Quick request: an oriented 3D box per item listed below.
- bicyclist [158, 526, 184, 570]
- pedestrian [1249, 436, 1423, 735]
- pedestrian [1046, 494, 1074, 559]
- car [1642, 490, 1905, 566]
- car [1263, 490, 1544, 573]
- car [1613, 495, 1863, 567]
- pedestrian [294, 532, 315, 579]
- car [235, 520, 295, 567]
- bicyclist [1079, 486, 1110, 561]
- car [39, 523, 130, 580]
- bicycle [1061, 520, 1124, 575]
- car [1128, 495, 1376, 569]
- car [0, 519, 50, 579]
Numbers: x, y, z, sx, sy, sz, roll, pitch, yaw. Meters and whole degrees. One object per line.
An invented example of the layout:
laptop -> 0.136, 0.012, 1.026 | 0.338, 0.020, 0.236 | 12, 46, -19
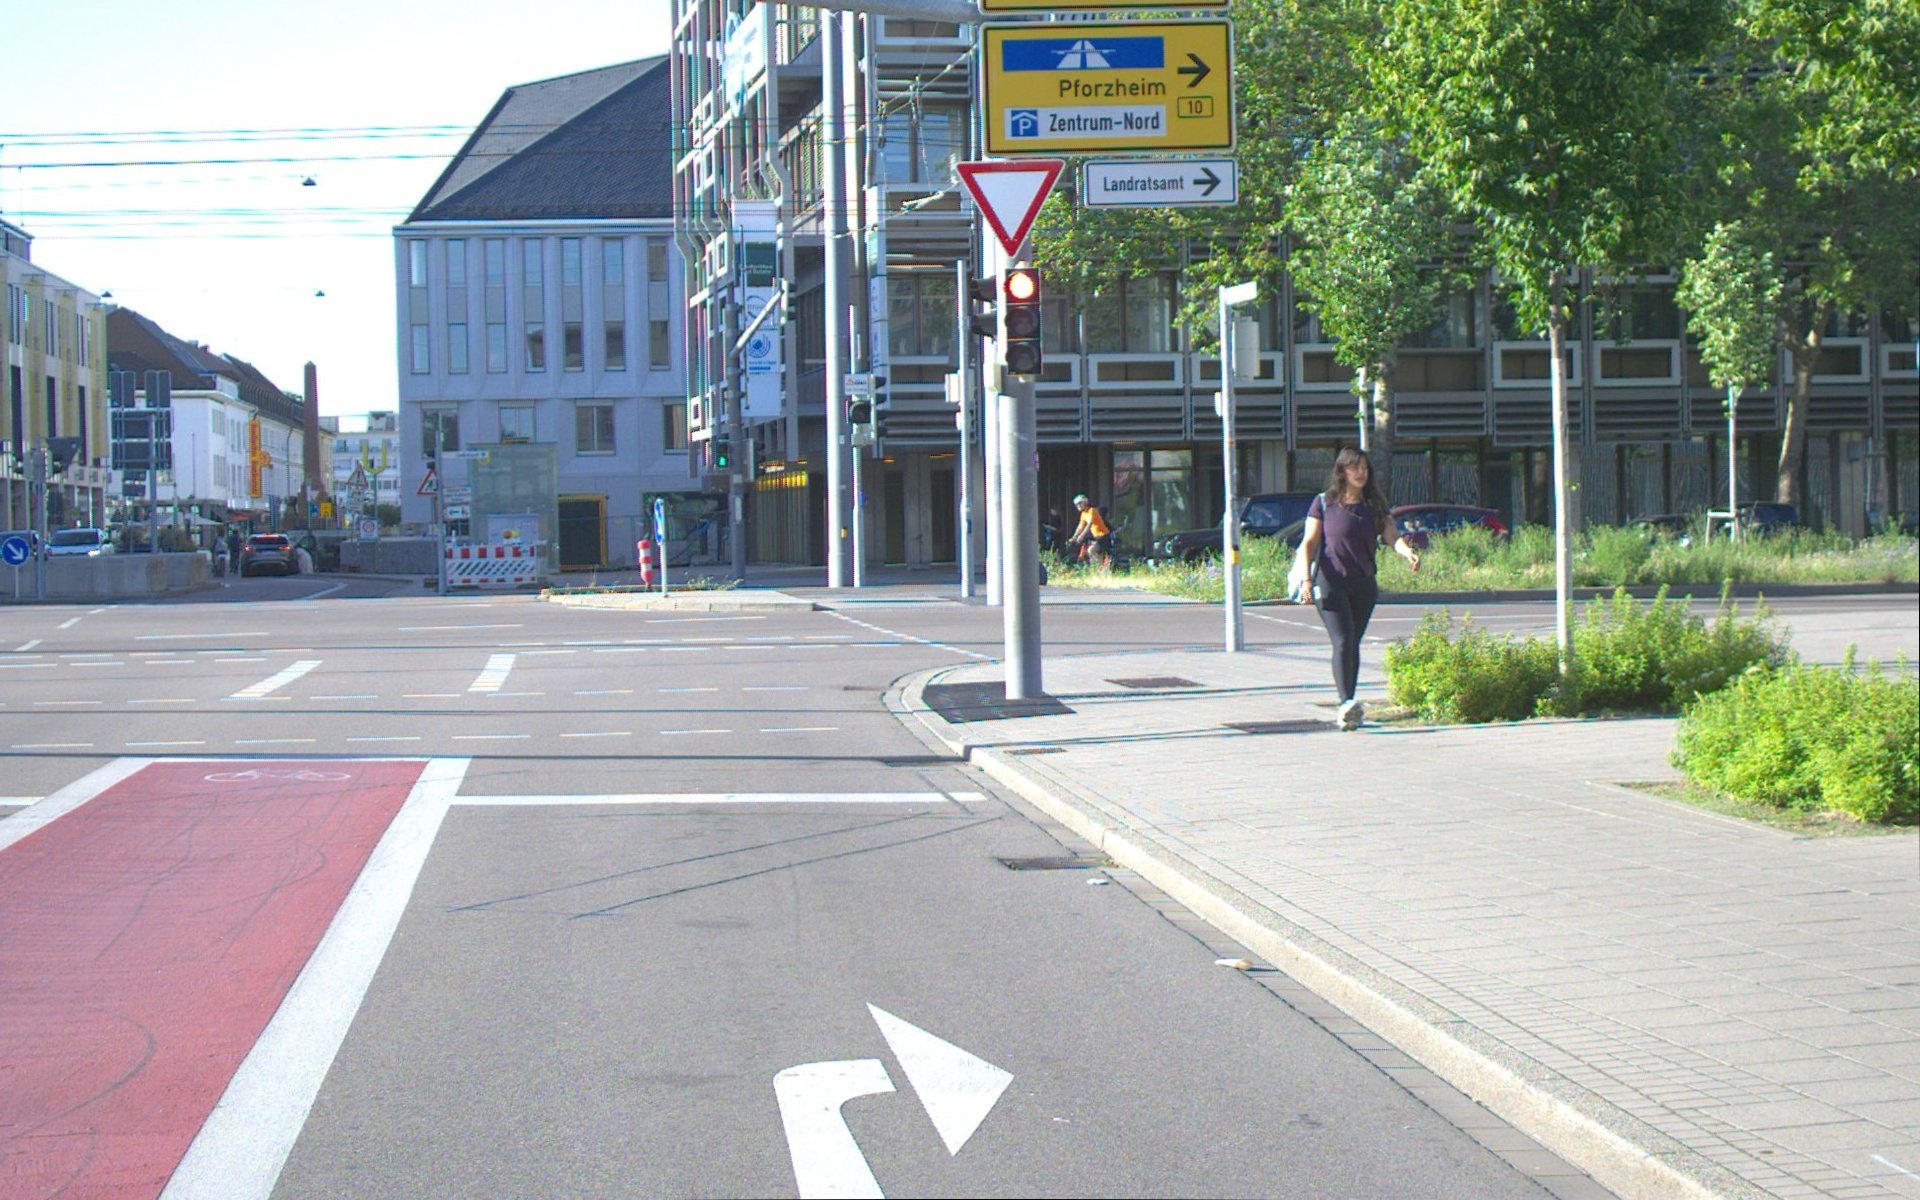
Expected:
bicyclist -> -26.461, -1.755, 115.356 | 0.746, 1.455, 0.767 | -1, 2, -8
pedestrian -> 2.281, -0.096, 20.755 | 0.822, 1.742, 1.041 | -2, 1, 16
pedestrian -> 2.350, -1.730, 80.832 | 0.623, 1.513, 0.653 | -1, 2, 3
car -> 16.001, -1.430, 67.731 | 4.629, 1.351, 2.001 | -1, 3, -9
car -> 7.930, -1.246, 61.687 | 4.629, 1.351, 2.001 | -1, 3, -9
car -> 16.130, -1.440, 71.381 | 4.629, 1.351, 2.001 | -1, 3, -9
pedestrian -> -23.390, -1.581, 122.678 | 0.714, 1.662, 0.988 | -1, 2, -10
car -> -24.565, -2.010, 121.496 | 1.993, 1.546, 4.001 | -1, 2, -12
bicyclist -> 2.435, -1.383, 62.180 | 0.508, 1.333, 0.453 | -1, 2, -3
car -> -26.466, -1.488, 104.021 | 1.993, 1.617, 4.239 | -1, 2, -5
bicycle -> 2.390, -0.947, 62.184 | 1.076, 0.967, 0.458 | -1, 2, -3
car -> 5.858, -1.377, 69.176 | 4.629, 1.351, 2.001 | -1, 3, -9
car -> -25.670, -1.362, 91.853 | 1.993, 1.524, 4.037 | -1, 2, -6
